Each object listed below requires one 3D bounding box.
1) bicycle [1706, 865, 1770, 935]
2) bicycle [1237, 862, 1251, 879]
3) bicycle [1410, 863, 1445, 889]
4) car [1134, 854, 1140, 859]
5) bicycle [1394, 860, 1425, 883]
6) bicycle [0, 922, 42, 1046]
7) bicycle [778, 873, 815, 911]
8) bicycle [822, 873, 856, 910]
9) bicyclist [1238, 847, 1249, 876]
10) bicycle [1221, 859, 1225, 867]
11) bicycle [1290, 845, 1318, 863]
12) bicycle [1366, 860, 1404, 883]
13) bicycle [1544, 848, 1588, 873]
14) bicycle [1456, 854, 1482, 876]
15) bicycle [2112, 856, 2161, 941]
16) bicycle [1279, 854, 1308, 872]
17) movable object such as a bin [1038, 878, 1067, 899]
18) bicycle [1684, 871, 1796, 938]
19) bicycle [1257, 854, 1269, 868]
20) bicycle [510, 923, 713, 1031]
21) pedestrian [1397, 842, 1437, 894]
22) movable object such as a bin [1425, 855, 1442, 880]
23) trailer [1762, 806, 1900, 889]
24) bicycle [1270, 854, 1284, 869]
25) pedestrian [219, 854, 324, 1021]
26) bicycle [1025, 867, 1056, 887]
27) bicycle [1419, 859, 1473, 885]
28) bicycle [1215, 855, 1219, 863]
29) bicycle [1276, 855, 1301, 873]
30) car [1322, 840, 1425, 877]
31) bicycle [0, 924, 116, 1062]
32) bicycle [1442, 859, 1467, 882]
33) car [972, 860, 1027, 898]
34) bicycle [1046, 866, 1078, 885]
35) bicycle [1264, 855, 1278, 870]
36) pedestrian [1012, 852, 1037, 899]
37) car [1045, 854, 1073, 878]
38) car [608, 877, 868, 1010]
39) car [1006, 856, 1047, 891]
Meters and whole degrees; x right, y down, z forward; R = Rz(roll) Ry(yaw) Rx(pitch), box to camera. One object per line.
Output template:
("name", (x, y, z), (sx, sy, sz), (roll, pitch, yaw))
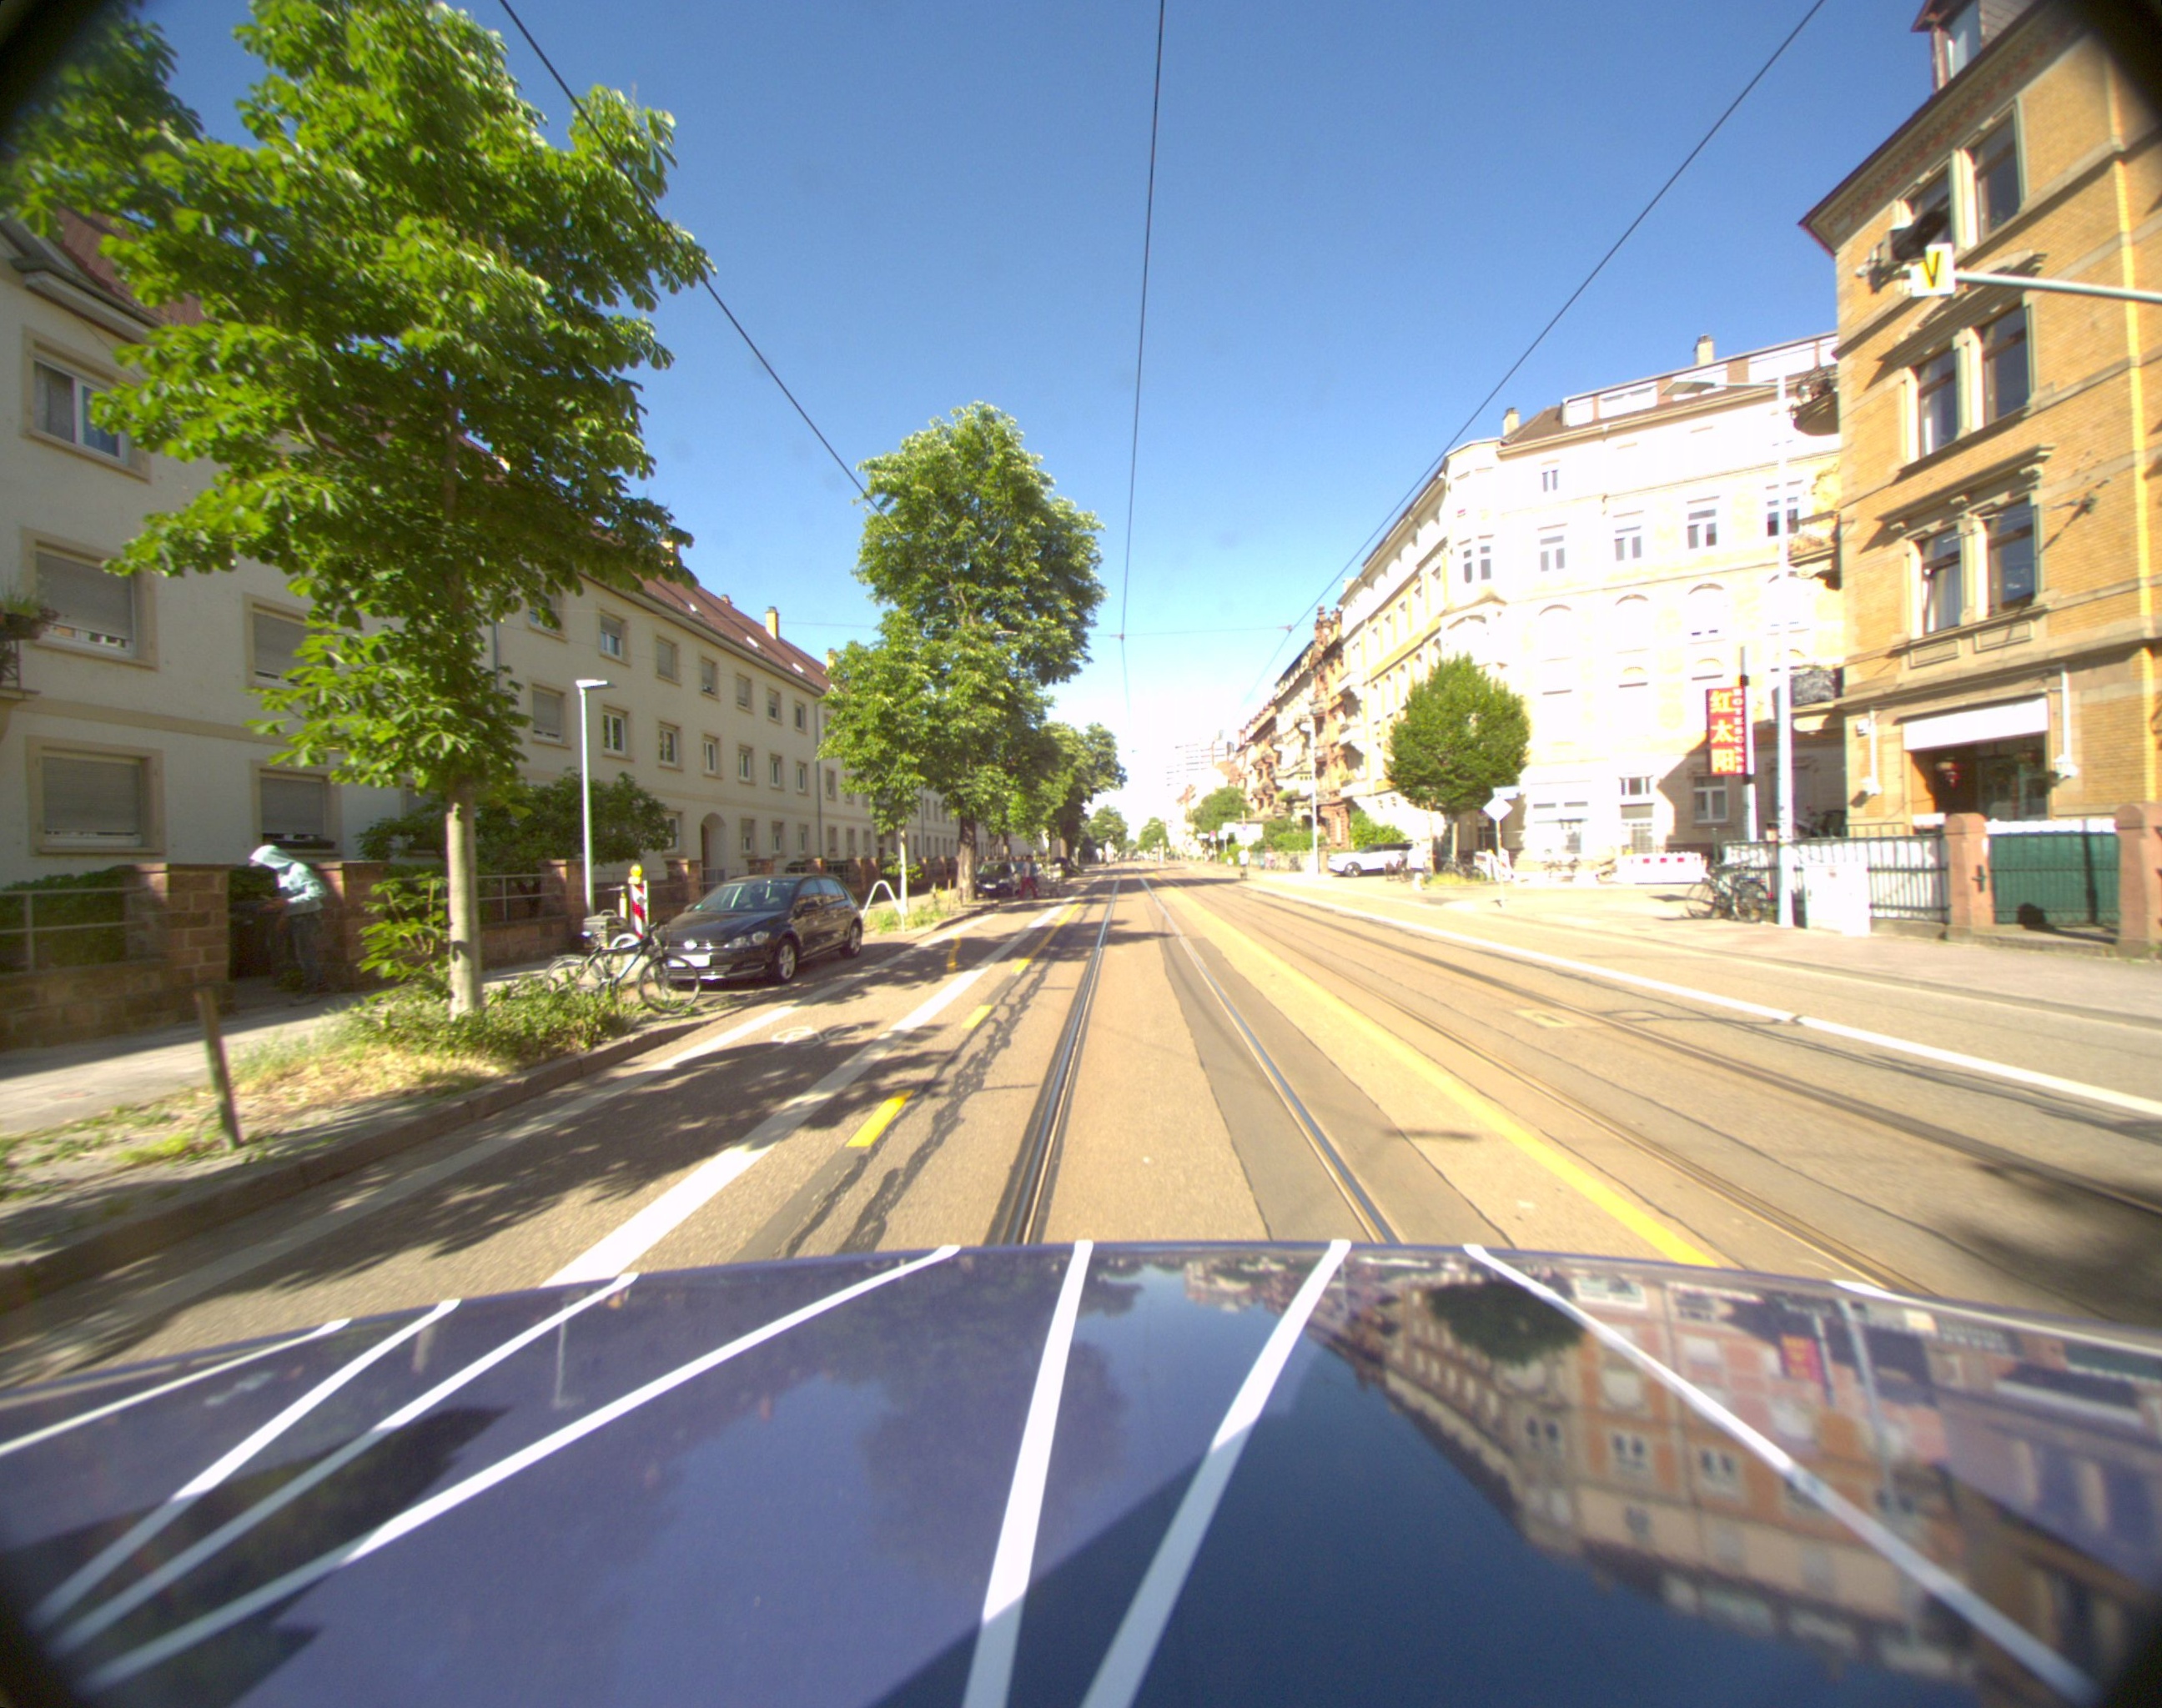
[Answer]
("bicycle", (11.172, 0.766, 12.941), (0.371, 1.119, 0.809), (-3, 0, 4))
("bicycle", (9.183, 0.921, 42.810), (0.461, 0.920, 2.203), (0, 0, 4))
("bicycle", (13.821, 0.867, 30.306), (1.296, 0.909, 0.619), (-3, 2, -32))
("car", (18.409, 0.796, 249.545), (1.901, 1.608, 4.265), (0, 0, 2))
("bicycle", (14.186, 0.736, 32.810), (1.296, 0.909, 0.619), (-3, 2, -32))
("bicycle", (-10.459, 1.251, 6.654), (0.442, 1.146, 1.575), (-3, 0, 4))
("bicycle", (-9.909, 1.310, 26.536), (0.544, 1.213, 1.742), (-1, 0, 3))
("bicycle", (-8.592, 1.321, 26.996), (0.544, 1.213, 1.742), (-1, 0, 3))
("bicyclist", (9.174, 0.424, 42.838), (0.465, 1.609, 0.744), (0, 1, 4))
("bicycle", (16.974, 1.053, 90.767), (0.342, 0.920, 1.944), (-3, 0, 8))
("bicycle", (16.175, -0.030, 55.122), (1.766, 1.147, 0.565), (-5, 0, 3))
("bicycle", (13.478, 0.763, 33.696), (1.791, 0.909, 0.619), (-3, 2, -32))
("bicycle", (21.644, 0.308, 33.928), (1.600, 1.031, 0.407), (-3, -2, 28))
("bicycle", (17.278, 0.476, 33.840), (1.545, 0.909, 0.246), (-3, 2, -32))
("bicycle", (13.462, 0.497, 9.124), (1.539, 0.969, 0.389), (-3, 0, 2))
("bicycle", (13.195, 0.555, 47.290), (0.566, 1.027, 1.764), (-3, -1, -33))
("movable object such as a bin", (-1.090, 1.305, 28.832), (0.922, 0.739, 0.668), (2, 1, 15))
("bicycle", (11.048, 0.813, 12.820), (0.336, 0.995, 1.870), (-3, 0, 4))
("bicycle", (14.081, 0.537, 58.754), (0.564, 1.027, 1.768), (-3, -1, 4))
("bicycle", (-5.047, 1.307, 8.236), (1.797, 1.061, 0.621), (0, 0, -1))
("pedestrian", (11.741, 0.473, 26.589), (0.831, 1.714, 1.082), (-3, 1, 0))
("movable object such as a bin", (15.832, 0.610, 34.147), (0.577, 1.064, 0.717), (-3, 0, 17))
("trailer", (25.600, -0.237, 26.077), (2.921, 2.680, 1.831), (0, 2, 27))
("bicycle", (13.666, 0.498, 52.938), (0.564, 1.027, 1.768), (-3, 0, 3))
("pedestrian", (-8.832, 0.883, 8.290), (0.763, 1.714, 0.581), (-3, 0, 33))
("bicycle", (-2.416, 1.387, 45.760), (1.765, 1.071, 0.434), (-3, 0, 5))
("bicycle", (14.904, 0.727, 31.076), (0.581, 0.970, 1.983), (-3, 1, -31))
("bicycle", (17.703, 0.665, 98.906), (0.342, 0.920, 1.944), (-3, 0, 8))
("bicycle", (13.411, 0.647, 49.108), (0.565, 1.027, 1.765), (-6, 0, -21))
("car", (14.762, 0.217, 38.525), (4.455, 1.634, 1.967), (-3, 1, 6))
("bicycle", (-9.712, 1.259, 6.459), (0.449, 1.146, 1.918), (-2, 0, 4))
("bicycle", (15.836, 0.694, 32.203), (0.619, 0.909, 1.297), (0, 2, 42))
("car", (-3.372, 0.998, 32.115), (1.724, 1.465, 4.247), (-1, 0, 2))
("bicycle", (-1.119, 1.278, 45.073), (1.765, 1.071, 0.434), (-3, 0, 5))
("bicycle", (13.740, 0.578, 54.896), (0.564, 1.027, 1.768), (-3, 0, 3))
("pedestrian", (-2.173, 0.795, 29.056), (0.602, 1.760, 0.911), (1, 0, -27))
("car", (-1.724, 0.959, 60.855), (1.748, 1.755, 4.478), (-3, 0, 3))
("car", (-4.717, 1.150, 11.202), (1.791, 1.455, 4.045), (-1, 0, 3))
("car", (-2.931, 1.010, 41.690), (1.669, 1.750, 4.232), (-2, 0, 3))
